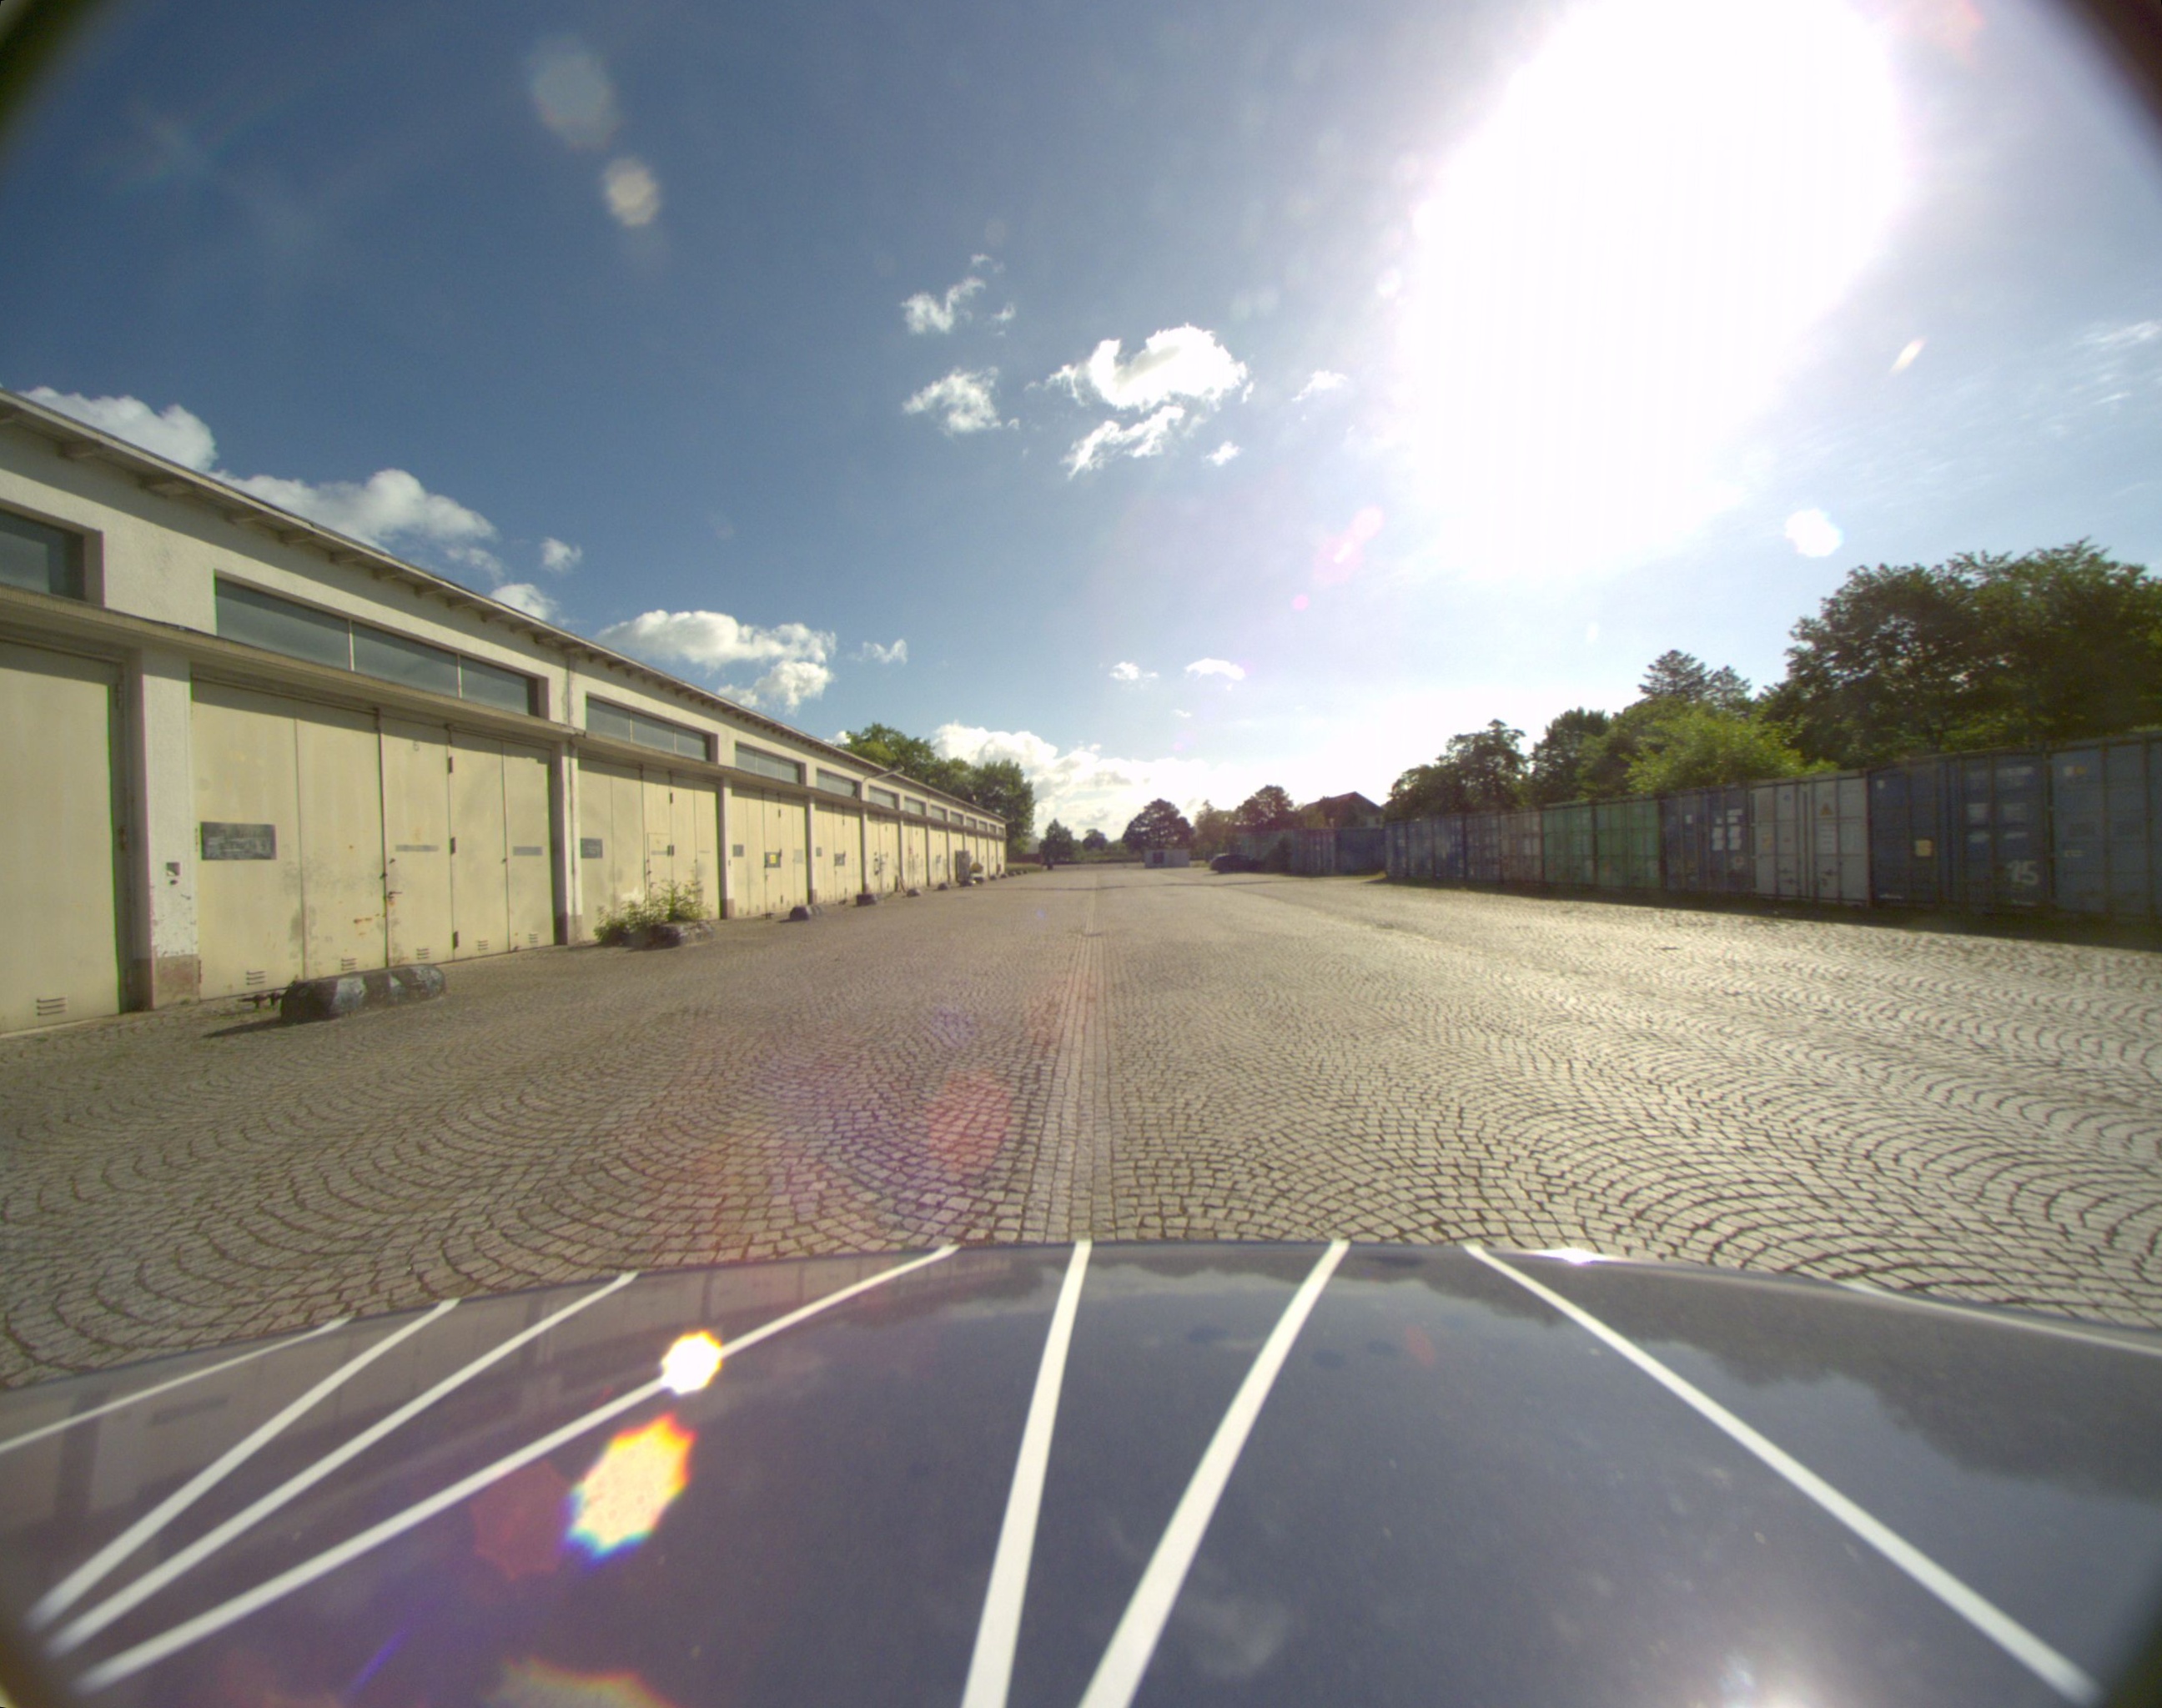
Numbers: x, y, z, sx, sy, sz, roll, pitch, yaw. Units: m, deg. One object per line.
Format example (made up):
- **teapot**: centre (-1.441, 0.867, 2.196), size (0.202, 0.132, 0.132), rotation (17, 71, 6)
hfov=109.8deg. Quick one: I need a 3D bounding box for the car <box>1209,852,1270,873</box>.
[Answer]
- **car**: centre (11.993, 0.651, 57.577), size (4.112, 1.289, 2.000), rotation (-4, 1, -1)
